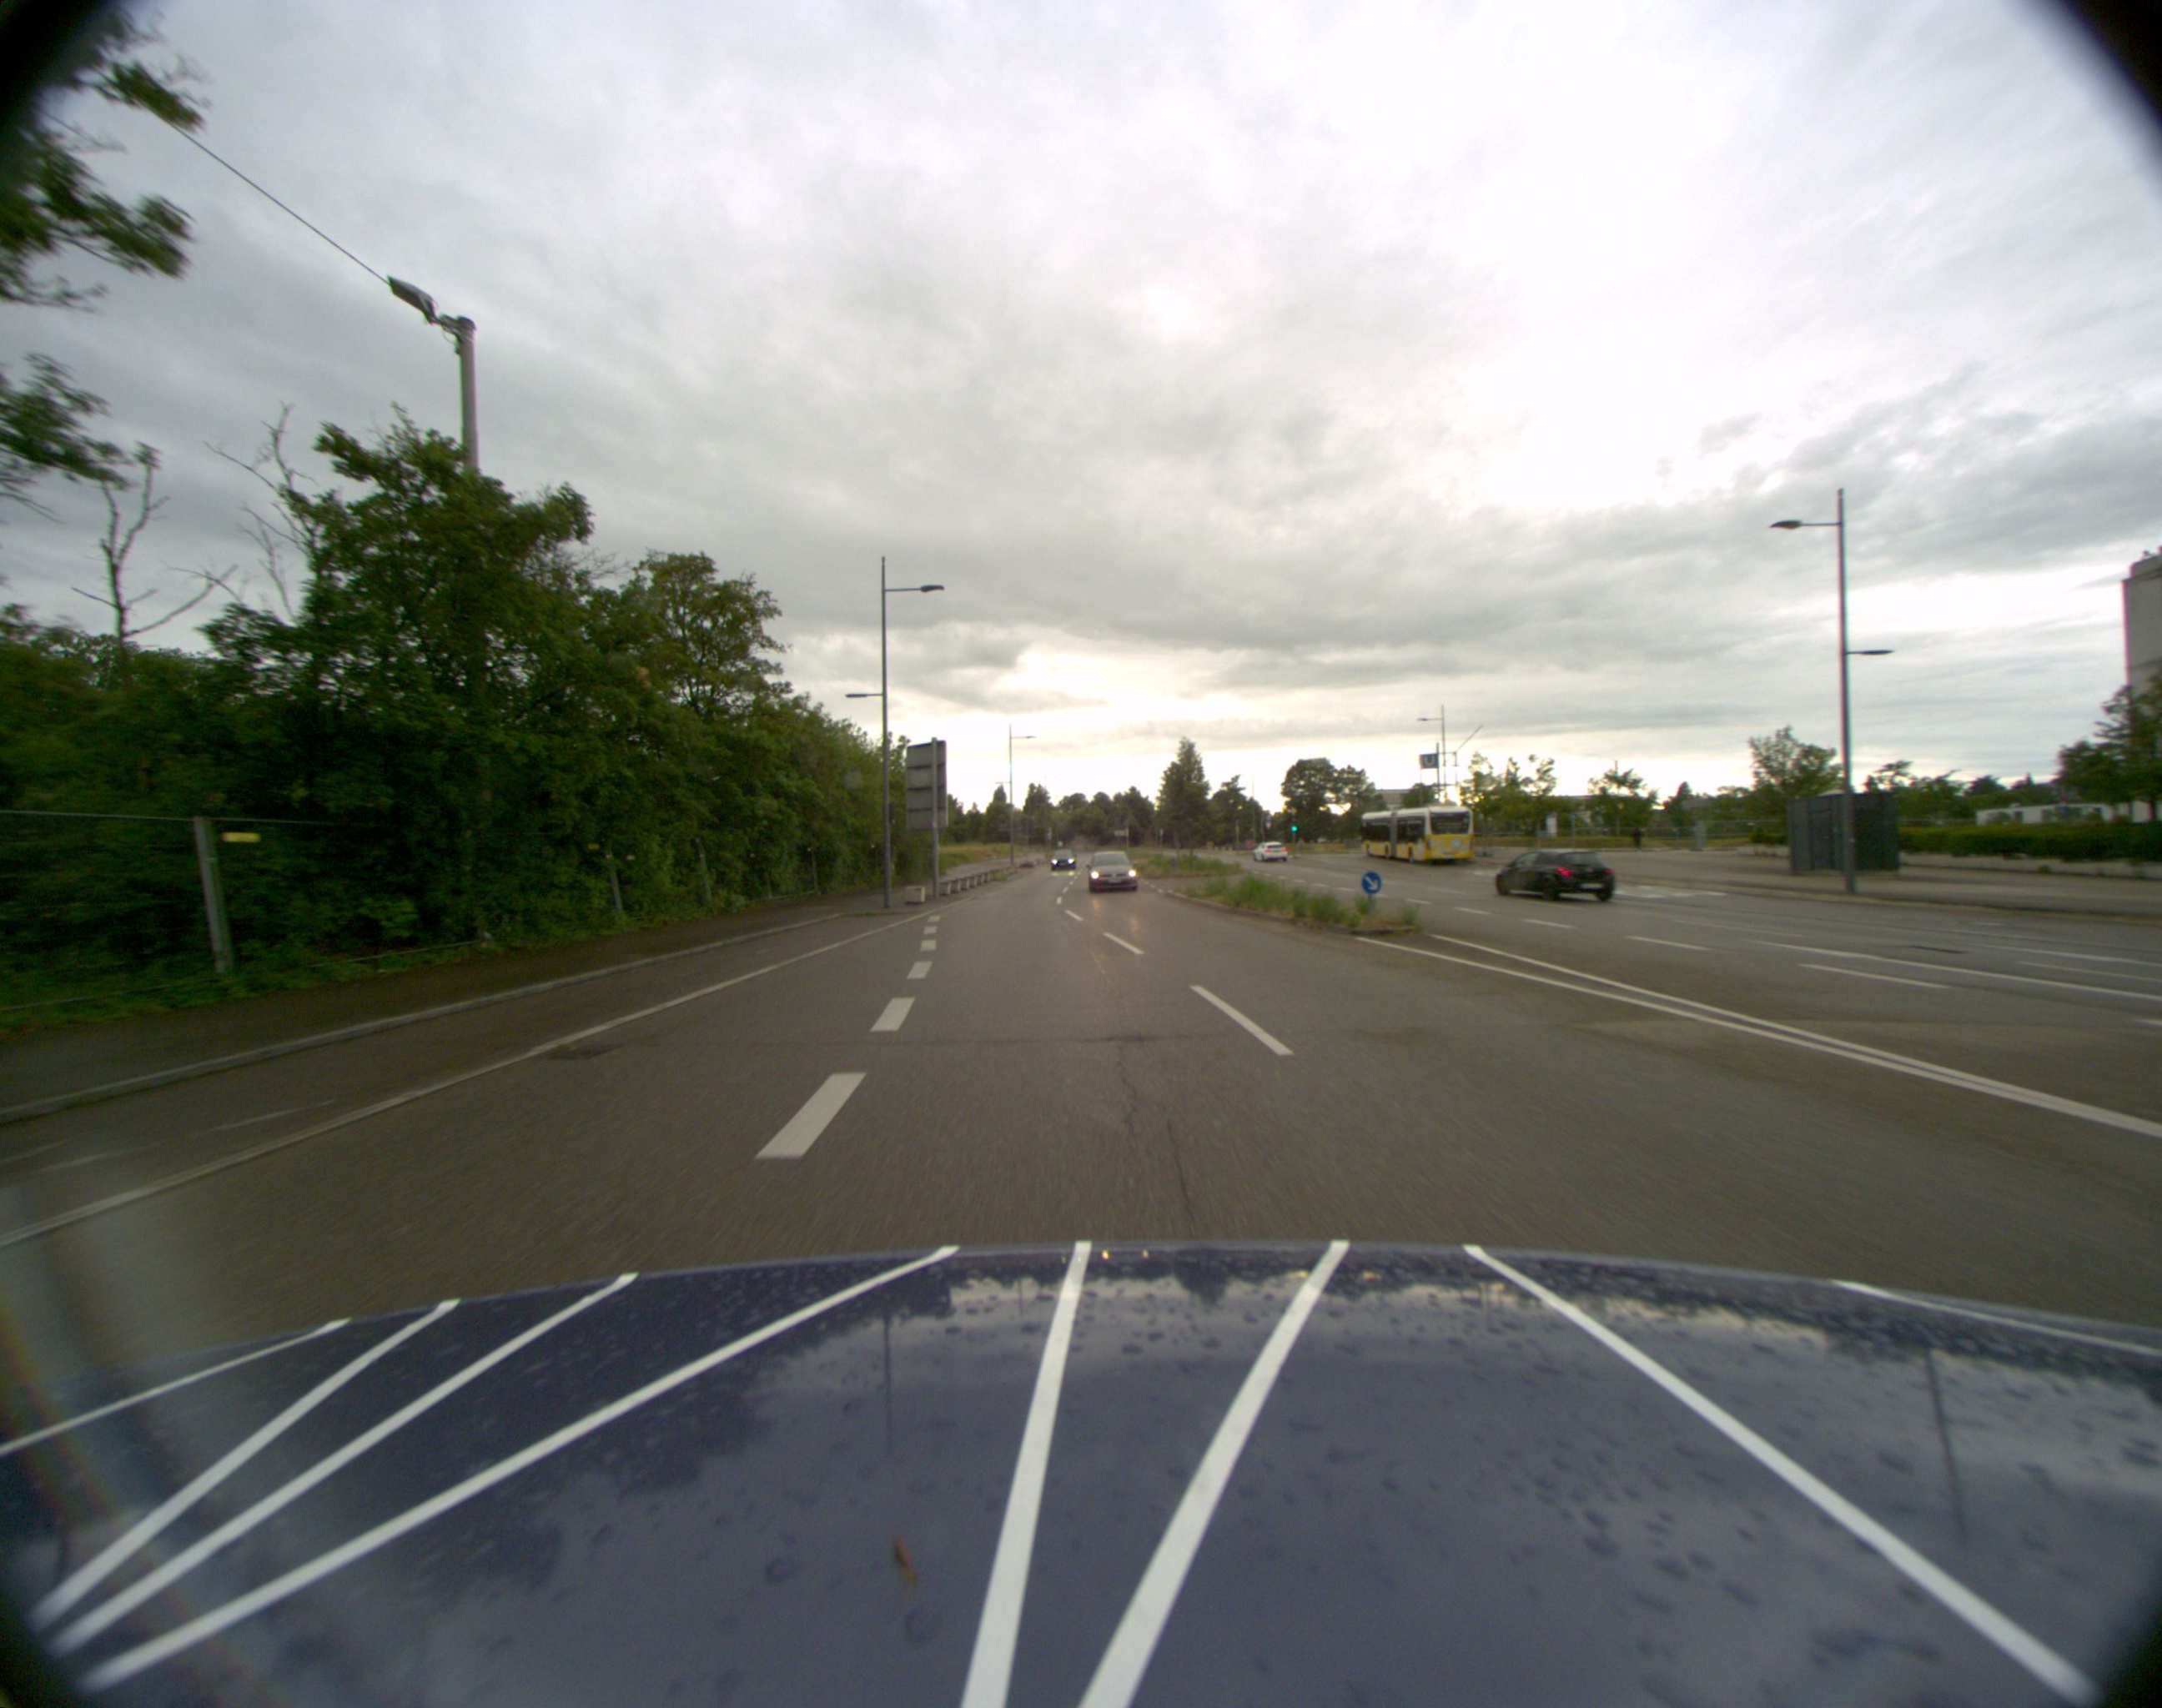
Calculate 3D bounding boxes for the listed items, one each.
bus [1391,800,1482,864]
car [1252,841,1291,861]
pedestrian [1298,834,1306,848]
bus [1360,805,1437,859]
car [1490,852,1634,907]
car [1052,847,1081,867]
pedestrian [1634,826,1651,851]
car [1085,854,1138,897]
[{"bbox_3d":[21.592,-1.341,46.689,2.826,3.453,8.234,-2,2,9],"label":"bus"},{"bbox_3d":[14.534,-0.243,58.245,1.998,1.410,4.513,-1,1,2],"label":"car"},{"bbox_3d":[25.680,-1.485,88.142,0.616,1.584,0.812,-2,-1,-3],"label":"pedestrian"},{"bbox_3d":[23.015,-1.632,55.690,2.826,3.453,9.978,-2,2,9],"label":"bus"},{"bbox_3d":[13.969,0.676,22.361,1.851,1.454,3.867,0,1,2],"label":"car"},{"bbox_3d":[-1.109,0.215,56.803,1.990,1.391,4.176,-1,-1,-3],"label":"car"},{"bbox_3d":[35.709,-0.976,48.338,0.491,1.520,0.665,-2,-1,-4],"label":"pedestrian"},{"bbox_3d":[1.136,0.758,28.840,1.810,1.421,4.197,-2,0,1],"label":"car"}]
